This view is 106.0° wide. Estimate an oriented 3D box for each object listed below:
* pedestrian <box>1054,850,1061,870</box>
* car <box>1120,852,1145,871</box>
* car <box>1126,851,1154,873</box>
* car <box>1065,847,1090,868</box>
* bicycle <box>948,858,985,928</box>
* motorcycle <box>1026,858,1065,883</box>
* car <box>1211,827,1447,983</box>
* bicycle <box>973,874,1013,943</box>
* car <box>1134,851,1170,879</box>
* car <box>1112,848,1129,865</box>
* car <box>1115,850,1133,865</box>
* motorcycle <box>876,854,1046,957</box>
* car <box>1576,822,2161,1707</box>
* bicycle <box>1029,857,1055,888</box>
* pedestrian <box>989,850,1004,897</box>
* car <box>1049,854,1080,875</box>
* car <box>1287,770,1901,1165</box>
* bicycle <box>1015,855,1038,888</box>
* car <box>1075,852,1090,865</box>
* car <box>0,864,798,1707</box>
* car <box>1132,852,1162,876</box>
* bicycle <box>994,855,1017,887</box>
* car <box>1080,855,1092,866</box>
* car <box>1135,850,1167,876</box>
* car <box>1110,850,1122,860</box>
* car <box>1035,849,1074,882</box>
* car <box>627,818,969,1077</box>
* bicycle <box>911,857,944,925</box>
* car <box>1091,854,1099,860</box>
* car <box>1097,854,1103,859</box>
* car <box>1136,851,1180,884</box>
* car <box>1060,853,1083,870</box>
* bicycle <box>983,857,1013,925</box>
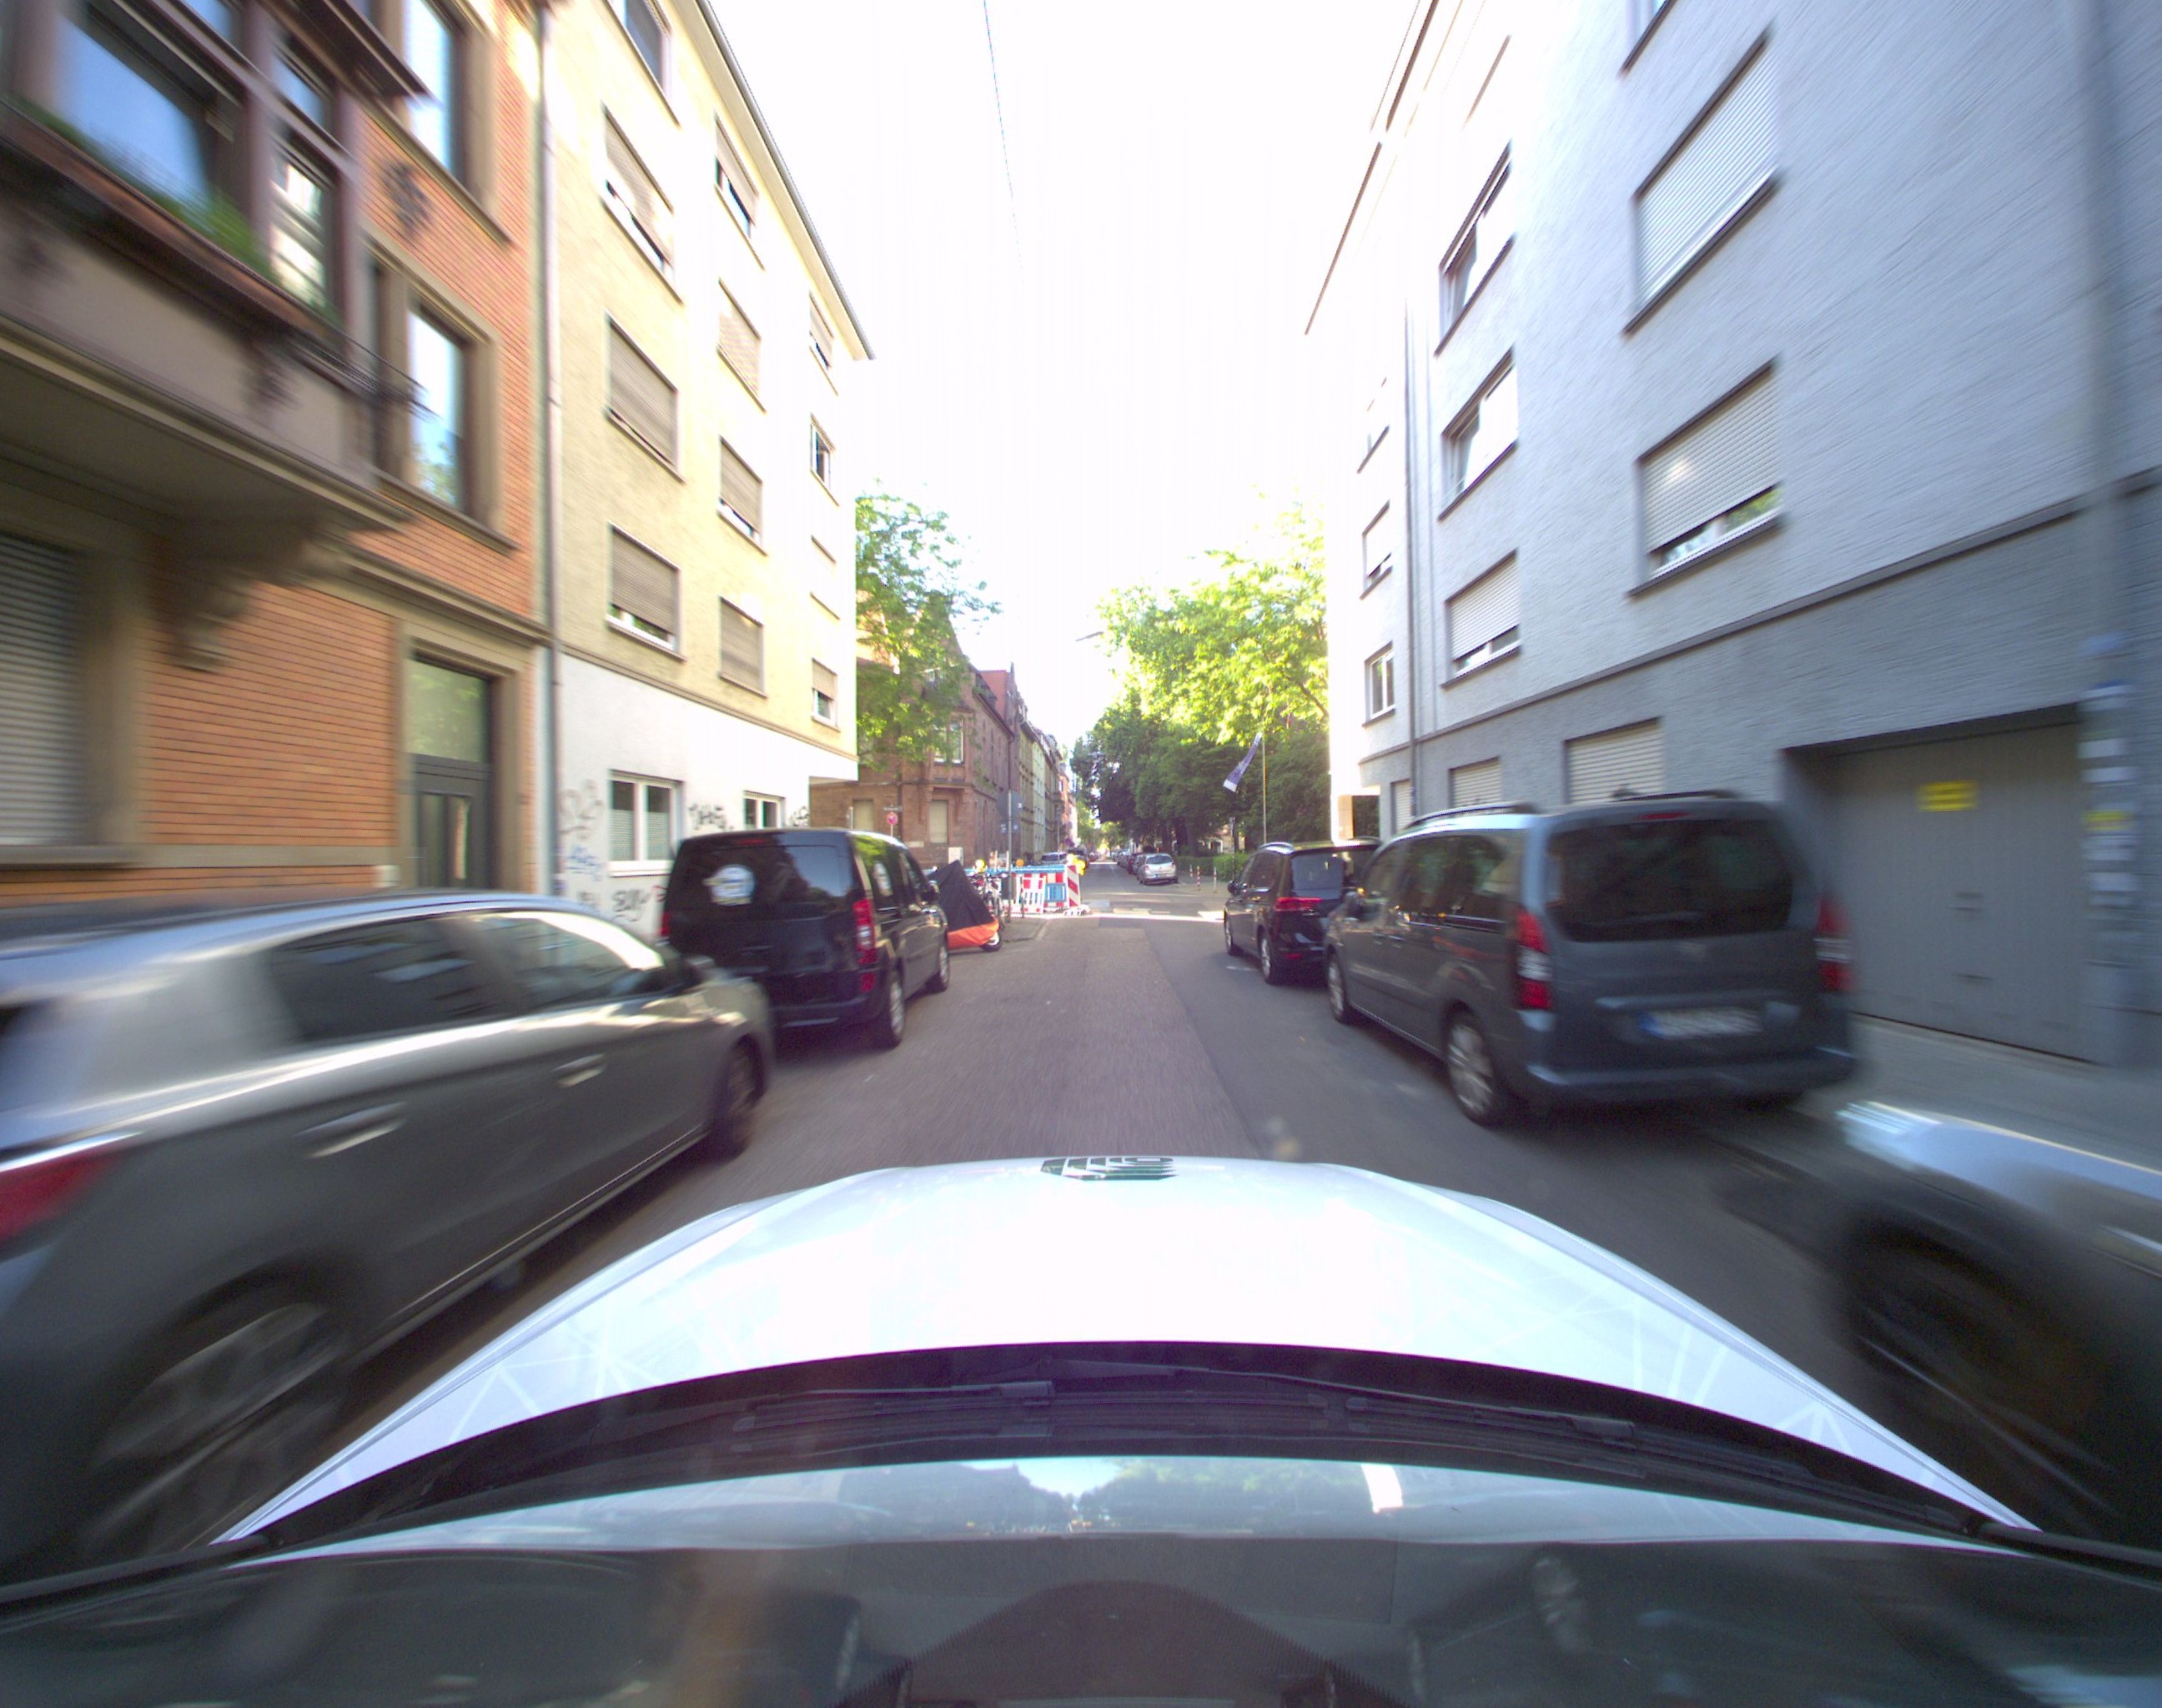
[{"bbox_3d":[-2.431,0.611,84.201,0.684,2.014,0.690,-1,-1,-6],"label":"pedestrian"},{"bbox_3d":[4.525,0.619,71.502,1.987,1.574,4.000,-1,0,1],"label":"car"},{"bbox_3d":[4.400,0.587,61.625,1.888,1.625,4.000,-1,0,1],"label":"car"},{"bbox_3d":[-0.296,0.354,84.607,2.300,2.114,5.173,-1,0,3],"label":"car"},{"bbox_3d":[-2.207,0.717,15.897,0.398,1.227,1.874,-1,1,1],"label":"bicycle"},{"bbox_3d":[-1.754,0.806,40.177,0.670,1.207,2.284,0,-1,-40],"label":"motorcycle"},{"bbox_3d":[3.001,0.560,10.909,1.894,1.640,4.392,-1,0,1],"label":"car"},{"bbox_3d":[-1.592,0.967,14.958,0.423,1.140,1.667,2,0,3],"label":"bicycle"},{"bbox_3d":[3.971,0.601,45.960,1.717,1.522,4.000,-1,0,1],"label":"car"},{"bbox_3d":[5.347,0.330,111.989,2.153,2.255,4.525,-1,0,1],"label":"car"},{"bbox_3d":[4.895,0.377,93.133,1.823,1.703,4.000,-1,0,1],"label":"car"},{"bbox_3d":[-1.883,0.756,12.895,2.524,1.482,0.896,0,0,-26],"label":"motorcycle"},{"bbox_3d":[2.655,0.716,0.858,1.746,1.452,4.291,-5,0,3],"label":"car"},{"bbox_3d":[-1.774,0.830,36.822,0.683,1.345,2.491,-1,0,-14],"label":"bicycle"},{"bbox_3d":[-3.222,0.739,31.172,0.523,1.740,0.557,-1,0,-3],"label":"pedestrian"},{"bbox_3d":[-1.147,0.727,57.607,1.874,1.411,4.002,-2,0,2],"label":"car"},{"bbox_3d":[3.043,0.524,6.246,1.747,1.786,4.725,-4,0,1],"label":"car"},{"bbox_3d":[-2.481,0.758,36.884,0.573,1.423,2.491,-1,0,-14],"label":"bicycle"},{"bbox_3d":[0.185,0.603,105.249,1.896,1.574,4.000,-1,0,1],"label":"car"},{"bbox_3d":[-2.622,0.790,3.163,1.671,1.449,3.646,0,0,2],"label":"car"},{"bbox_3d":[4.575,0.672,56.787,1.835,1.596,4.001,-1,0,1],"label":"car"},{"bbox_3d":[-3.434,0.759,37.346,0.680,1.423,2.799,-1,0,1],"label":"bicycle"},{"bbox_3d":[0.803,1.094,134.807,1.944,1.709,3.999,-1,0,0],"label":"car"},{"bbox_3d":[4.404,0.573,51.597,1.735,1.574,4.000,-1,0,1],"label":"car"},{"bbox_3d":[6.443,0.238,149.466,1.986,1.728,4.001,-1,0,1],"label":"car"},{"bbox_3d":[-1.463,0.651,46.552,1.874,1.707,4.002,-2,0,2],"label":"car"},{"bbox_3d":[-2.264,0.644,7.834,1.813,1.766,4.333,-1,0,-1],"label":"car"},{"bbox_3d":[-3.035,0.706,16.199,0.293,1.227,1.700,-1,2,1],"label":"bicycle"},{"bbox_3d":[3.896,0.772,223.262,1.986,1.647,4.001,-1,0,1],"label":"car"},{"bbox_3d":[5.936,0.698,254.162,1.986,1.647,4.001,-1,0,1],"label":"car"},{"bbox_3d":[3.748,0.628,40.429,1.719,1.522,3.998,-1,0,-1],"label":"car"},{"bbox_3d":[-0.725,0.609,67.292,1.765,1.353,4.001,0,0,1],"label":"car"},{"bbox_3d":[-1.614,0.694,16.015,0.398,1.227,1.505,-1,1,1],"label":"bicycle"}]
